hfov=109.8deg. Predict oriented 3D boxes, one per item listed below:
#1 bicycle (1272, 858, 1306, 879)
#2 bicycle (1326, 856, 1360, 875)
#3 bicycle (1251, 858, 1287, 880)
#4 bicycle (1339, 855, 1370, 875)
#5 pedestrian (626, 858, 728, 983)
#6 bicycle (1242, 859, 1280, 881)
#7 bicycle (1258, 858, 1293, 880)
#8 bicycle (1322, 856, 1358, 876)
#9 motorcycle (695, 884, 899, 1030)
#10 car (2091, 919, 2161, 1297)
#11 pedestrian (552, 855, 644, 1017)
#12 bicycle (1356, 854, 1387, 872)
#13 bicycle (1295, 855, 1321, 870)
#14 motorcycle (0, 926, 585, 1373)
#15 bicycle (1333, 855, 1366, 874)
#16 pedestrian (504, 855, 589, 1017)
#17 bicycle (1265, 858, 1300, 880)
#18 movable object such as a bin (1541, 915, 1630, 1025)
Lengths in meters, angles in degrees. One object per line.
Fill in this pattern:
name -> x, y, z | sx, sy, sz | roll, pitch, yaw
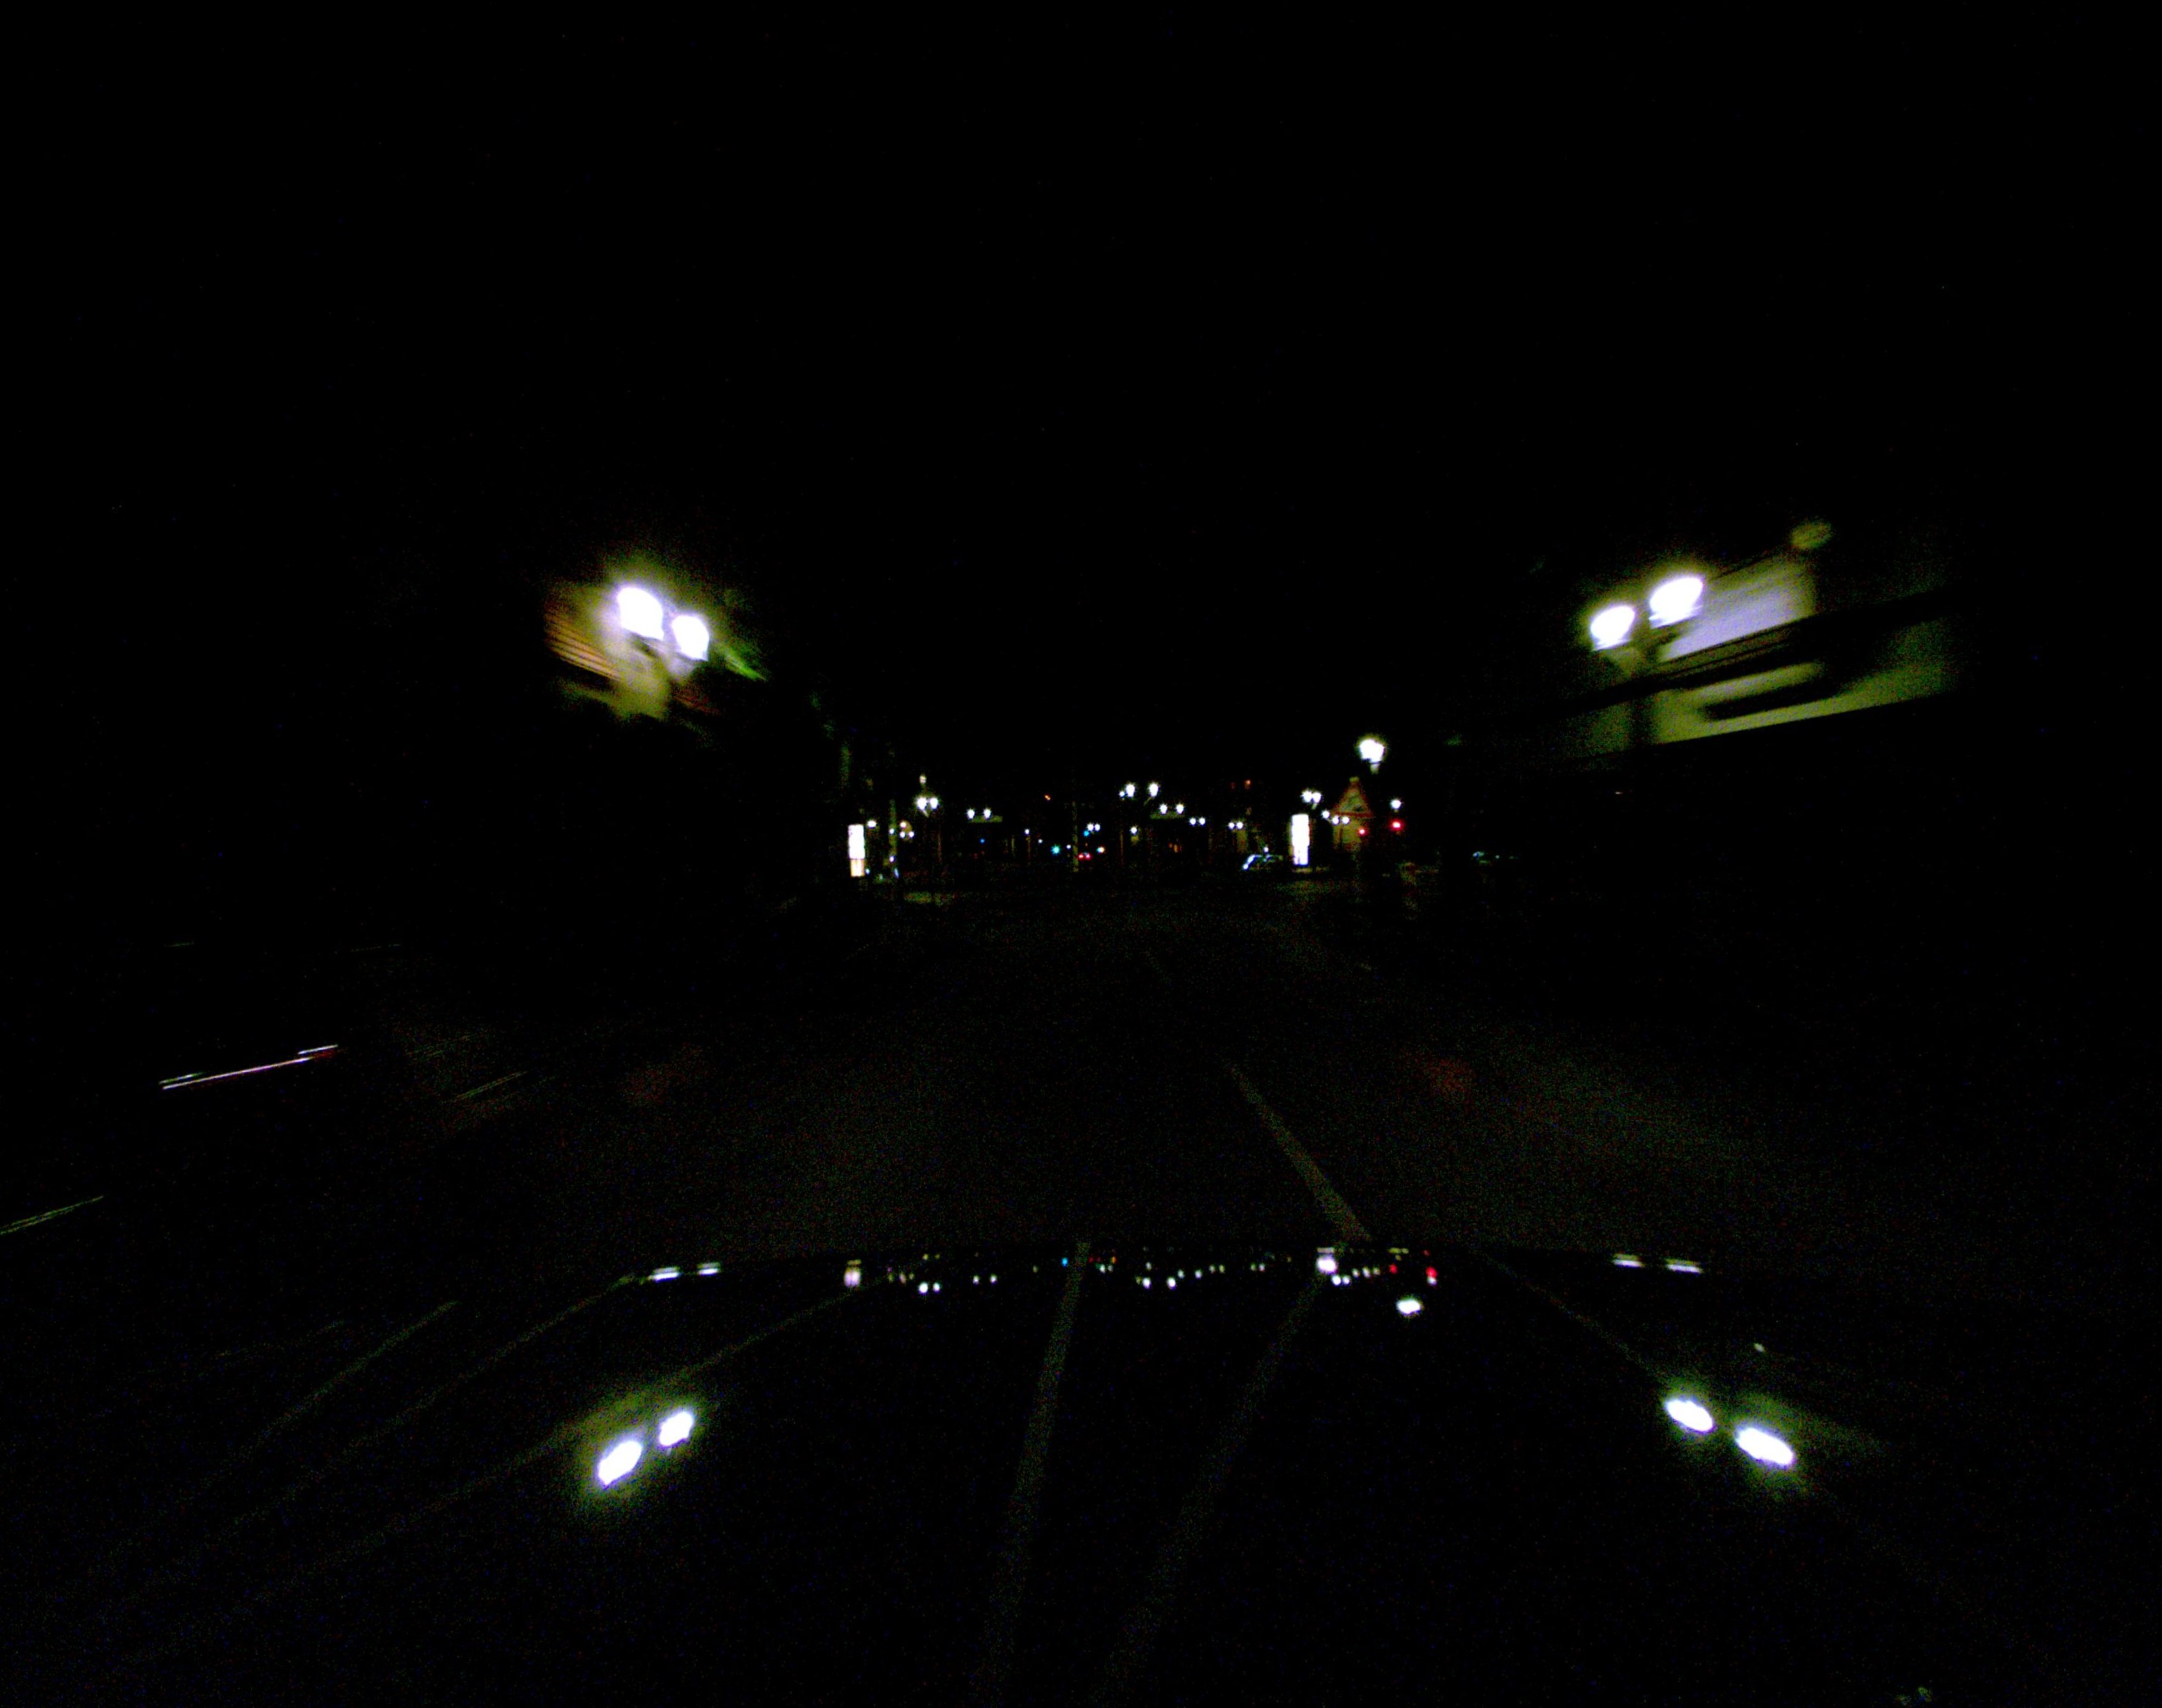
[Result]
bicycle -> 11.518, 0.802, 42.147 | 0.583, 1.144, 1.773 | -2, 1, -42
bicycle -> 15.602, 0.690, 45.286 | 1.789, 1.128, 0.630 | -1, 1, 42
bicycle -> 10.066, 0.823, 40.665 | 1.772, 1.144, 0.615 | -1, 1, 42
bicycle -> 16.438, 0.658, 45.701 | 1.655, 1.128, 0.644 | -1, 1, 43
pedestrian -> -5.610, 0.896, 10.604 | 0.809, 1.621, 0.966 | -3, 1, 1
bicycle -> 9.494, 0.834, 40.074 | 1.783, 1.144, 0.761 | -1, 1, 42
bicycle -> 10.542, 0.813, 41.183 | 1.772, 1.144, 0.583 | -1, 1, 42
bicycle -> 15.030, 0.711, 44.122 | 1.865, 1.128, 0.726 | -1, 1, 42
motorcycle -> -3.096, 1.052, 8.374 | 1.948, 1.345, 0.761 | -1, 1, -35
car -> 5.050, 0.981, 0.676 | 1.843, 1.441, 4.881 | -2, 1, 1
pedestrian -> -5.292, 0.867, 8.365 | 0.508, 1.699, 0.705 | -1, 1, 1
bicycle -> 18.454, 0.559, 48.276 | 1.656, 1.134, 0.829 | -1, 1, 43
bicycle -> 18.078, 0.705, 60.546 | 1.803, 1.121, 0.650 | -2, 1, -7
motorcycle -> -3.353, 1.049, 3.065 | 2.059, 1.398, 0.923 | 0, 0, -9
bicycle -> 16.611, 0.638, 47.089 | 1.770, 1.134, 0.688 | -1, 1, 43
pedestrian -> -5.846, 0.870, 8.331 | 0.478, 1.699, 0.571 | -1, 1, 1
bicycle -> 11.043, 0.828, 41.693 | 0.583, 1.144, 1.773 | -2, 1, -42
movable object such as a bin -> 5.526, 1.237, 8.315 | 0.691, 1.043, 0.624 | -4, 2, -40
